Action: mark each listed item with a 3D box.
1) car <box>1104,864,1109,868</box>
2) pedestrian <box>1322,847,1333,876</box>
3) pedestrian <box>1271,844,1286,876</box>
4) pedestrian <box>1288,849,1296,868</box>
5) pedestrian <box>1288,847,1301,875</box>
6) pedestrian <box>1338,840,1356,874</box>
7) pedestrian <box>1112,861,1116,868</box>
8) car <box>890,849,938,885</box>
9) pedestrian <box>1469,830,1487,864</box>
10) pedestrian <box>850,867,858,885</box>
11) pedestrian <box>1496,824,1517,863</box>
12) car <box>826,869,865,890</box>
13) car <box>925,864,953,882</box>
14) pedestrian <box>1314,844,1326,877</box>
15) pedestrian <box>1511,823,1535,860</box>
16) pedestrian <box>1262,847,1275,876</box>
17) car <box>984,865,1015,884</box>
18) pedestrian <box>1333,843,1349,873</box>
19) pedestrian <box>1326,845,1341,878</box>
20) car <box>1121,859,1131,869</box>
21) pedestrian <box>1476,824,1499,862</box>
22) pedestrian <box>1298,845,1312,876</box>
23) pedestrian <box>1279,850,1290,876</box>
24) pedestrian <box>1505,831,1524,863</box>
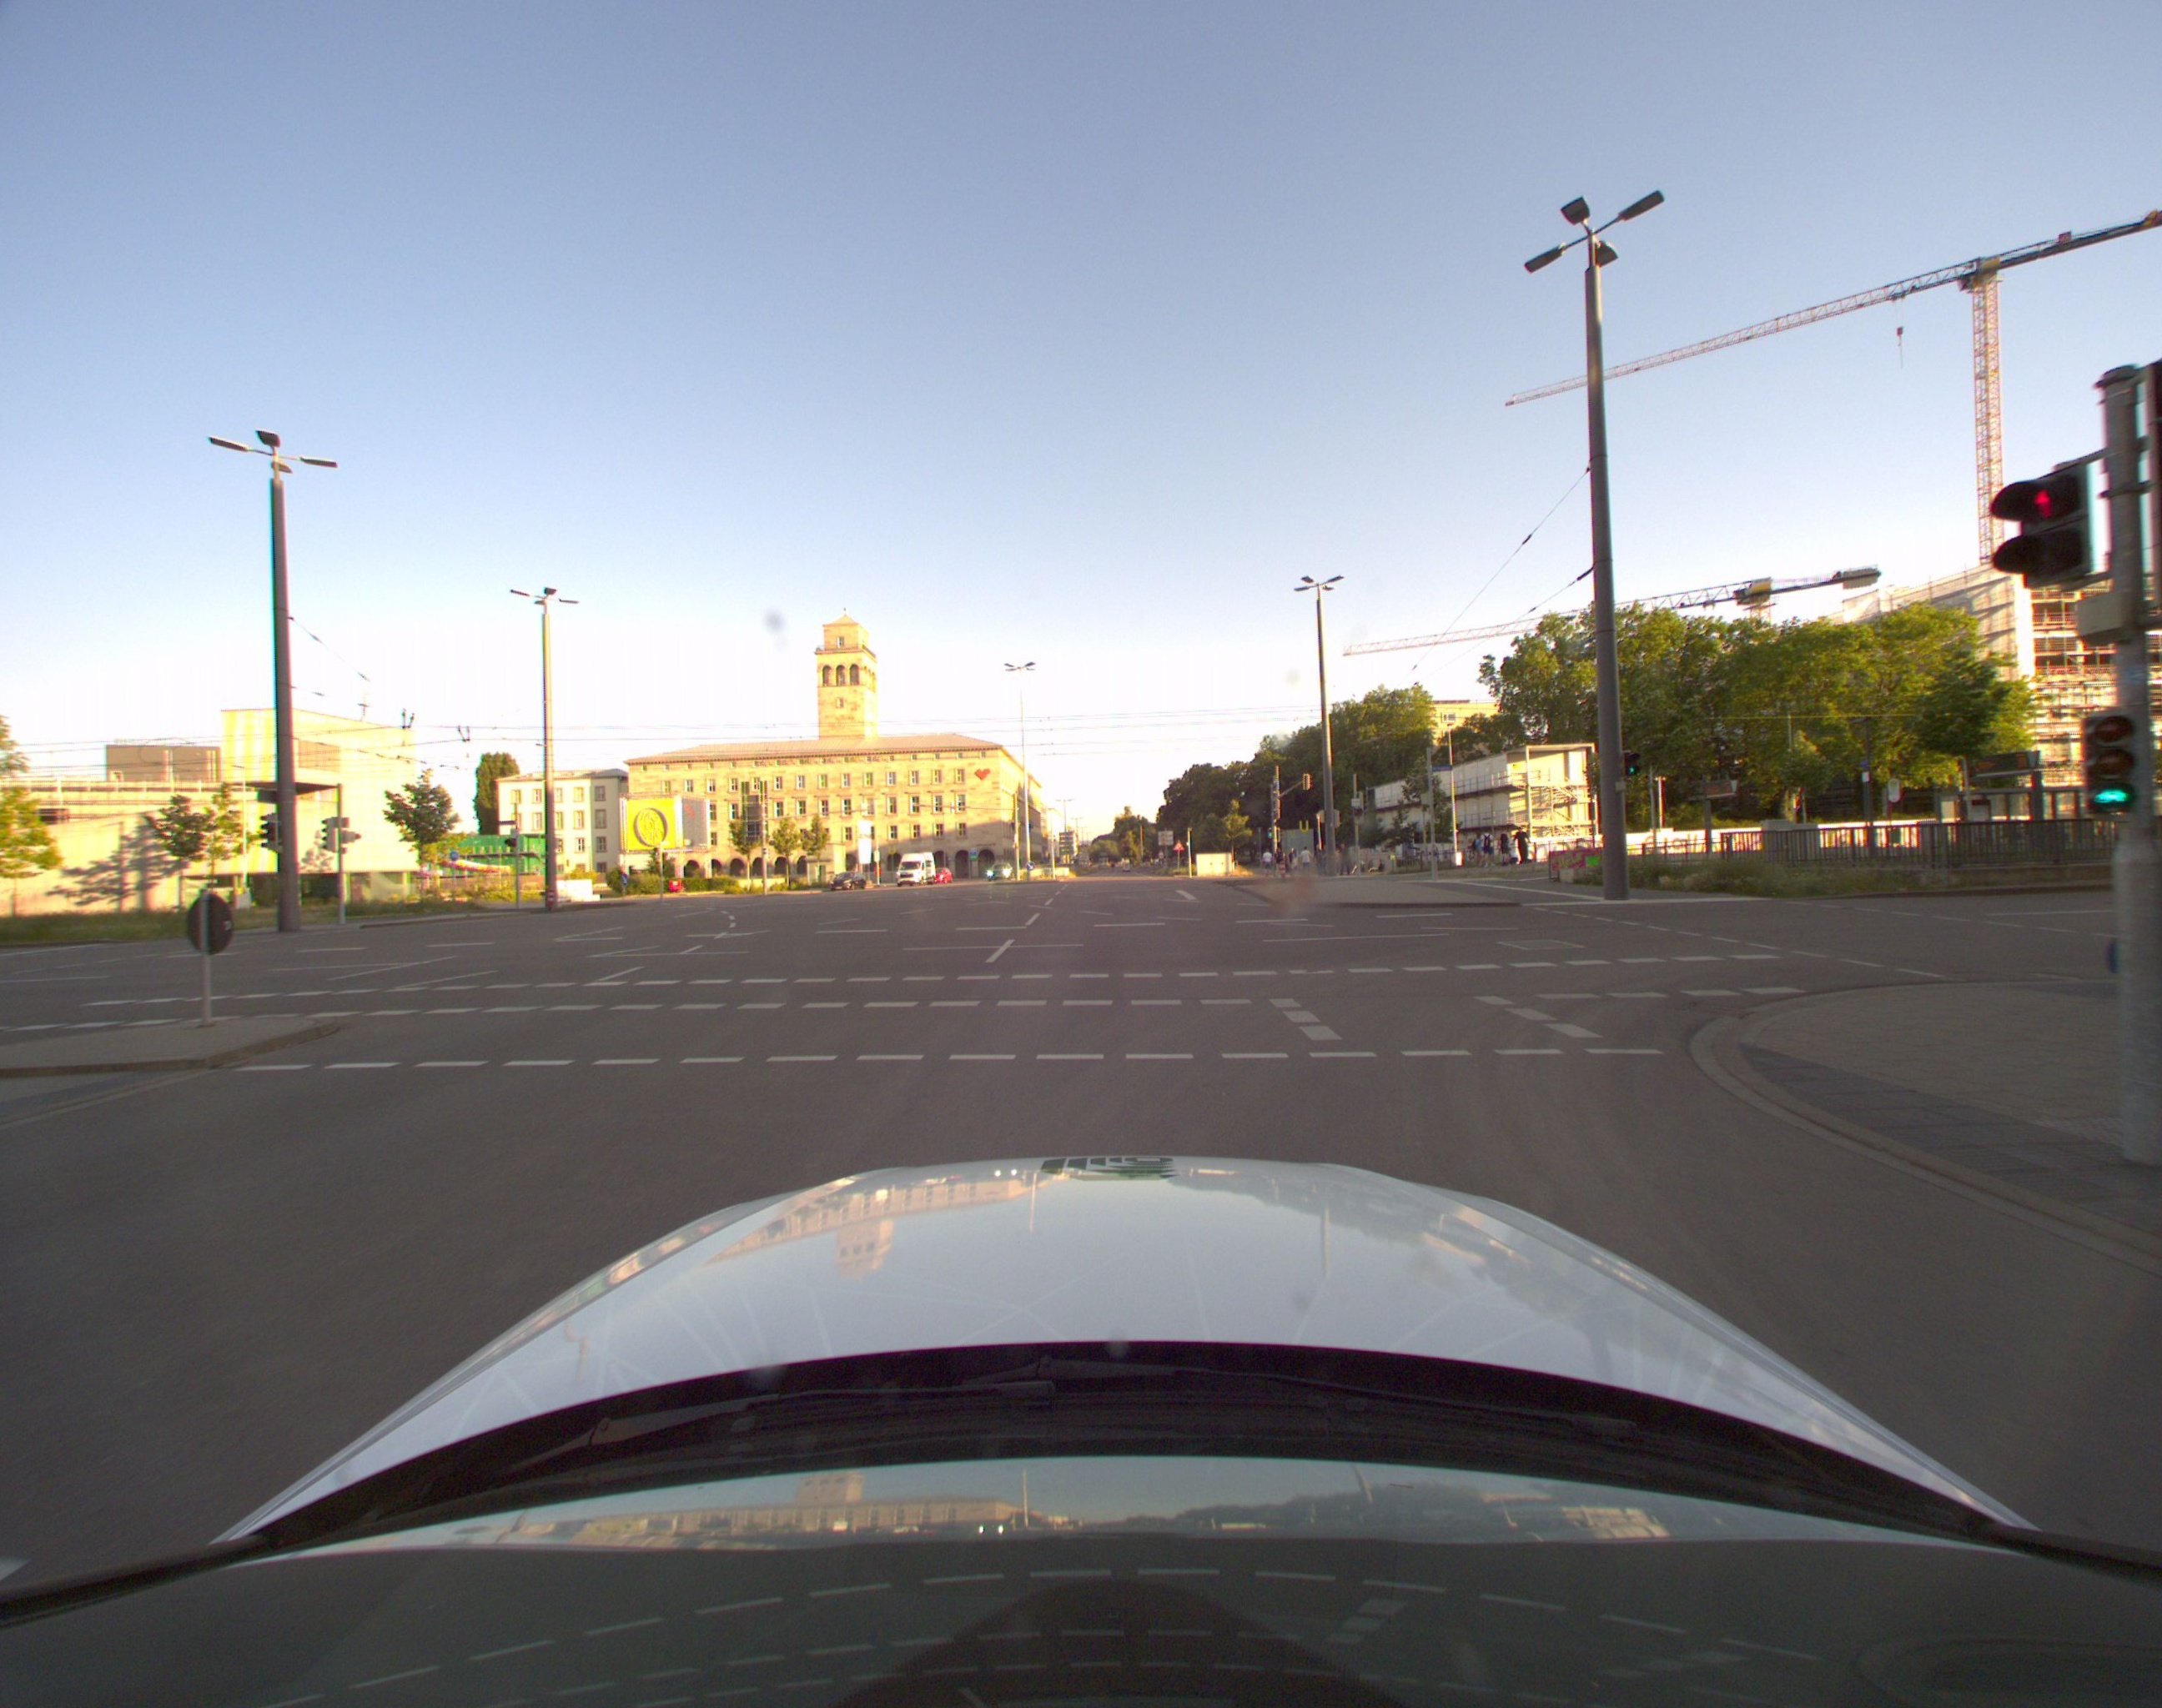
[{"bbox_3d":[7.239,3.331,228.550,1.364,1.234,3.048,-2,0,4],"label":"car"},{"bbox_3d":[14.100,0.424,46.557,0.568,1.679,0.641,-2,0,16],"label":"pedestrian"},{"bbox_3d":[10.818,0.326,44.675,0.706,1.725,0.918,-2,0,12],"label":"pedestrian"},{"bbox_3d":[20.894,0.408,80.671,0.662,1.842,0.714,-2,0,7],"label":"pedestrian"},{"bbox_3d":[13.688,0.456,52.199,0.673,1.757,0.907,-2,0,22],"label":"pedestrian"},{"bbox_3d":[14.492,0.157,44.403,0.800,1.791,0.802,-2,0,9],"label":"pedestrian"},{"bbox_3d":[7.671,2.364,188.399,0.903,1.671,1.307,-2,0,1],"label":"pedestrian"},{"bbox_3d":[-13.601,1.029,66.761,2.269,2.776,6.089,-2,0,4],"label":"car"},{"bbox_3d":[18.751,-0.320,38.479,0.569,1.592,0.537,-2,-1,1],"label":"pedestrian"},{"bbox_3d":[-21.163,2.052,76.025,0.620,1.744,0.459,0,-2,-4],"label":"pedestrian"},{"bbox_3d":[19.432,-0.472,37.211,0.705,1.725,0.671,-2,-1,19],"label":"pedestrian"},{"bbox_3d":[-18.646,2.003,64.683,1.817,1.466,4.158,-2,0,0],"label":"car"},{"bbox_3d":[-13.105,1.706,75.482,1.732,1.487,4.001,-2,0,1],"label":"car"},{"bbox_3d":[13.181,0.343,44.943,0.568,1.791,0.641,-2,0,16],"label":"pedestrian"},{"bbox_3d":[21.067,-0.581,38.802,0.708,1.725,0.668,-2,-1,-1],"label":"pedestrian"},{"bbox_3d":[11.305,0.425,49.100,0.705,1.725,0.671,-2,0,15],"label":"pedestrian"},{"bbox_3d":[-6.613,1.665,66.615,1.815,1.342,4.004,-2,0,4],"label":"car"},{"bbox_3d":[15.860,0.252,49.681,0.800,1.791,0.802,-2,0,9],"label":"pedestrian"},{"bbox_3d":[13.471,0.373,43.500,0.697,1.734,0.851,-2,0,18],"label":"pedestrian"},{"bbox_3d":[7.970,1.777,143.667,1.478,1.696,2.974,-2,0,0],"label":"car"},{"bbox_3d":[18.675,-0.506,37.419,0.706,1.725,0.670,-2,-1,9],"label":"pedestrian"},{"bbox_3d":[12.565,0.347,45.714,0.705,1.725,0.918,-2,0,14],"label":"pedestrian"},{"bbox_3d":[13.100,0.575,52.431,0.555,1.655,0.907,-2,0,22],"label":"pedestrian"},{"bbox_3d":[20.085,-0.317,37.759,0.670,1.441,0.718,-2,-1,24],"label":"pedestrian"}]
